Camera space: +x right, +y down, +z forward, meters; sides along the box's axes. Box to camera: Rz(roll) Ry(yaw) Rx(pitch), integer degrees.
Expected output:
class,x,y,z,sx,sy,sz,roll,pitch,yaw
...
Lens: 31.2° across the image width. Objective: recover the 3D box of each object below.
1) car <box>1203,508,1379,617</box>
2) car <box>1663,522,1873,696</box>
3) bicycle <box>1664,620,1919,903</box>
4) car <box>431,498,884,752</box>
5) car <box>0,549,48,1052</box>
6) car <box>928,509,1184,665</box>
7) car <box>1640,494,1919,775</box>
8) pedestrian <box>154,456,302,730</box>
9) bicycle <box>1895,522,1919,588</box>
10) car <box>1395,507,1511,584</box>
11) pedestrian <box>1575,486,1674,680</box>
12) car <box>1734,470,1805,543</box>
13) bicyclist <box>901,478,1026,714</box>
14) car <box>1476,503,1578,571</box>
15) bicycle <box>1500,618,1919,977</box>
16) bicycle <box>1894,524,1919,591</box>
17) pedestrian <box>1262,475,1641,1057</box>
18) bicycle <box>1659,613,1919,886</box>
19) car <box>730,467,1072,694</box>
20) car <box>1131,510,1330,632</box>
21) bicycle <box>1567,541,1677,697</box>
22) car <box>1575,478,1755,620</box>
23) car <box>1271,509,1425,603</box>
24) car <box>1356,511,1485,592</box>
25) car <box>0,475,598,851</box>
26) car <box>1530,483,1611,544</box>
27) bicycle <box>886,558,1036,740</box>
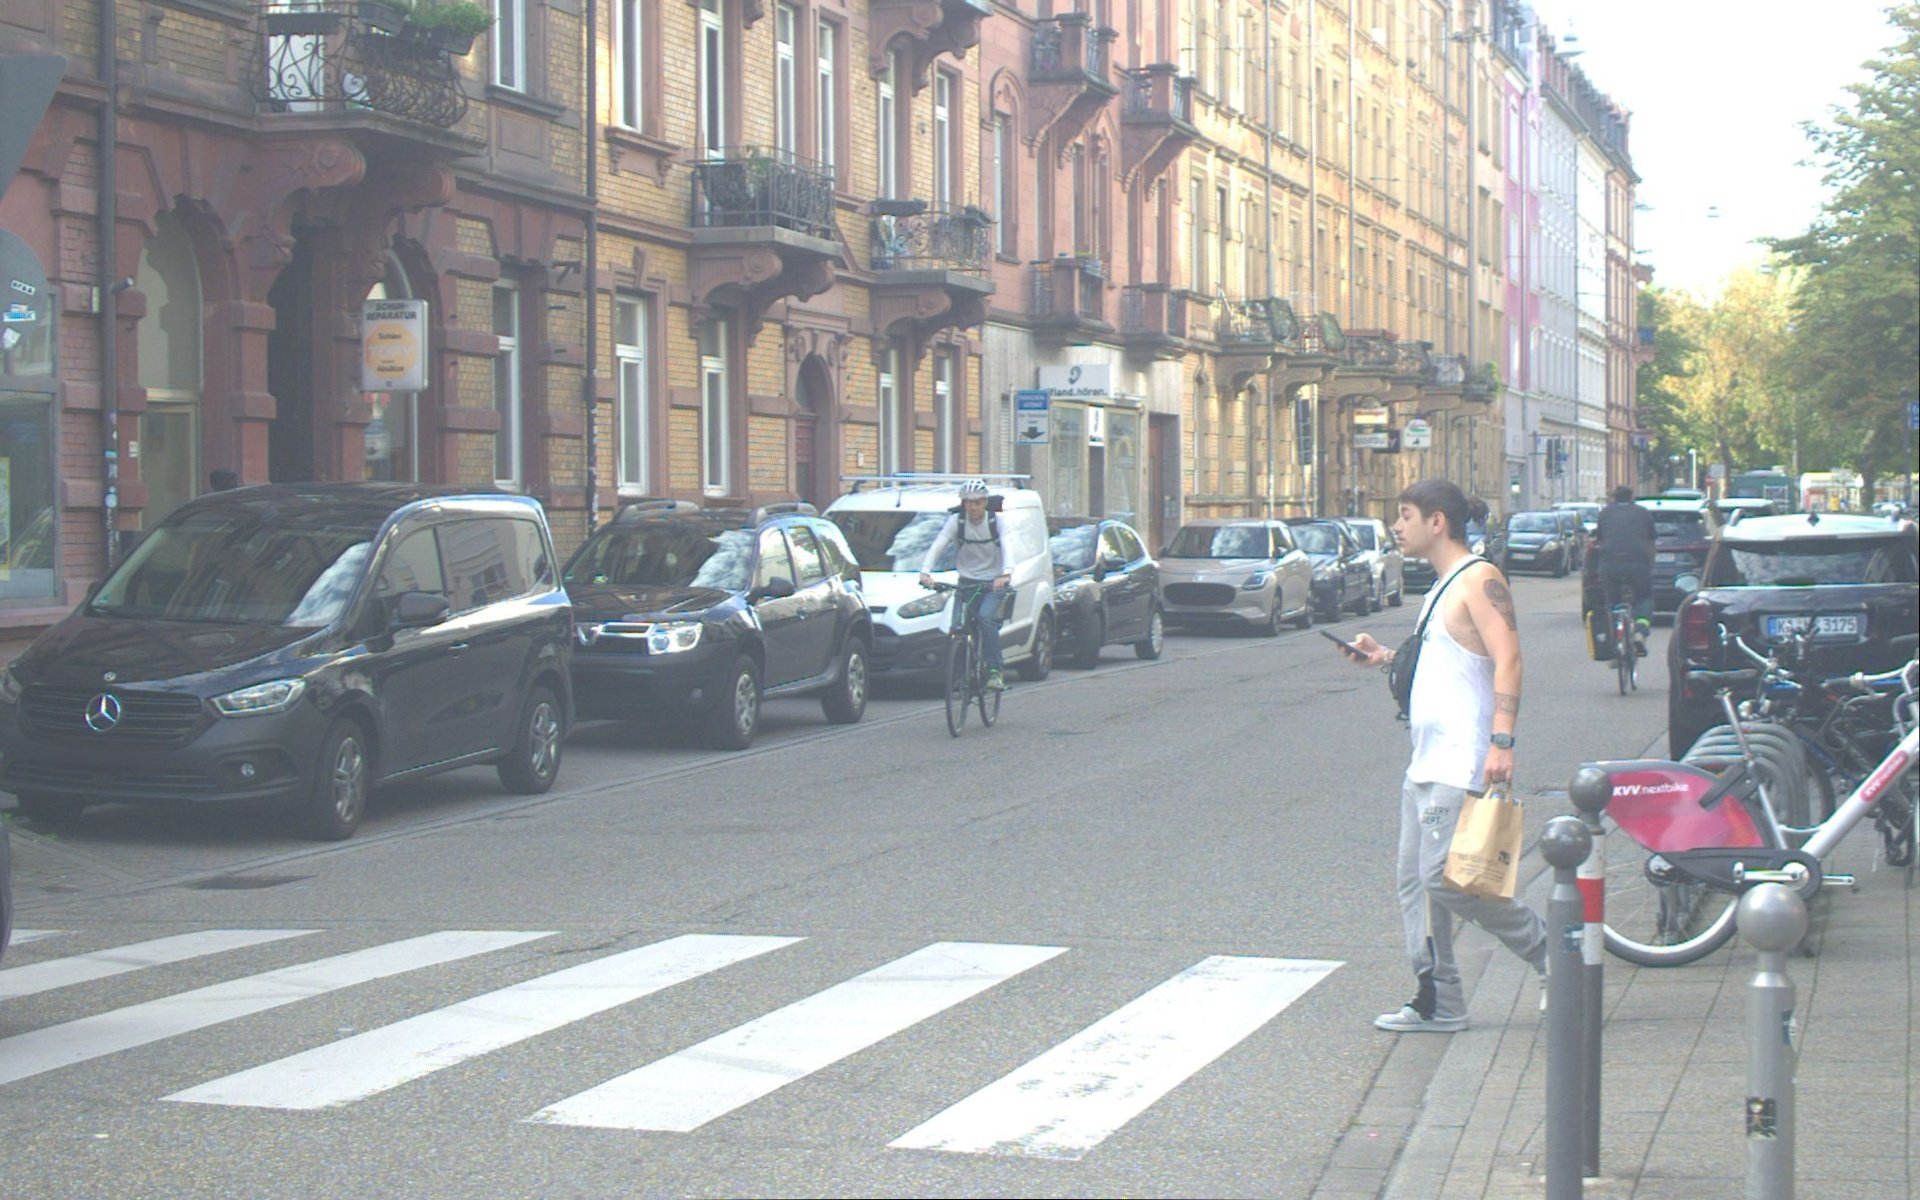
class,x,y,z,sx,sy,sz,roll,pitch,yaw
car,4.784,-0.571,49.246,1.743,1.478,3.980,1,2,17
car,7.427,0.041,31.362,1.597,1.434,4.027,0,2,17
bicycle,3.786,0.628,13.826,1.788,1.067,0.569,-2,2,6
car,-2.083,0.102,24.961,1.995,1.632,4.143,1,2,15
car,-4.109,0.629,8.375,1.793,1.433,3.997,-1,1,17
car,1.057,-0.181,35.763,1.743,1.478,3.981,2,2,15
car,5.525,0.151,22.245,1.794,1.600,3.921,-2,1,17
pedestrian,-5.051,-0.065,23.758,0.677,1.834,0.857,3,2,10
bicycle,16.009,-0.754,55.412,1.766,1.053,0.411,-2,1,11
car,9.752,-1.100,67.813,1.691,1.432,3.864,1,2,17
pedestrian,5.803,-0.162,29.997,0.718,1.644,0.929,2,2,17
car,23.083,-2.686,97.969,1.783,2.013,3.885,2,2,15
bicyclist,0.032,-0.044,24.969,0.701,1.672,1.112,0,2,11
car,12.823,-1.434,77.572,1.691,1.364,3.864,5,3,17
bicycle,2.857,0.653,11.740,1.883,1.121,0.907,-2,1,14
bicycle,17.499,-0.776,60.850,1.796,1.155,0.500,-2,1,19
pedestrian,1.496,0.468,10.359,1.020,1.665,0.804,0,1,17
bicycle,3.879,0.608,14.394,1.788,1.067,0.586,-2,2,6
car,-0.435,-0.243,30.832,1.921,1.865,4.434,1,2,15
car,3.571,-0.419,44.788,1.743,1.478,3.980,1,2,17
bicycle,5.778,0.141,29.936,0.718,1.269,1.882,2,2,17
car,9.286,-0.684,45.073,1.966,1.734,4.038,2,2,16
car,6.077,-0.718,53.552,1.691,1.382,3.864,1,2,17
car,8.337,-0.898,62.047,1.691,1.382,3.864,1,2,17
car,-3.625,0.221,18.953,1.761,1.767,4.403,2,3,15
car,15.967,-2.269,89.784,1.691,1.544,3.864,1,2,15
bicycle,0.028,0.328,24.935,0.701,1.216,2.116,0,2,11
